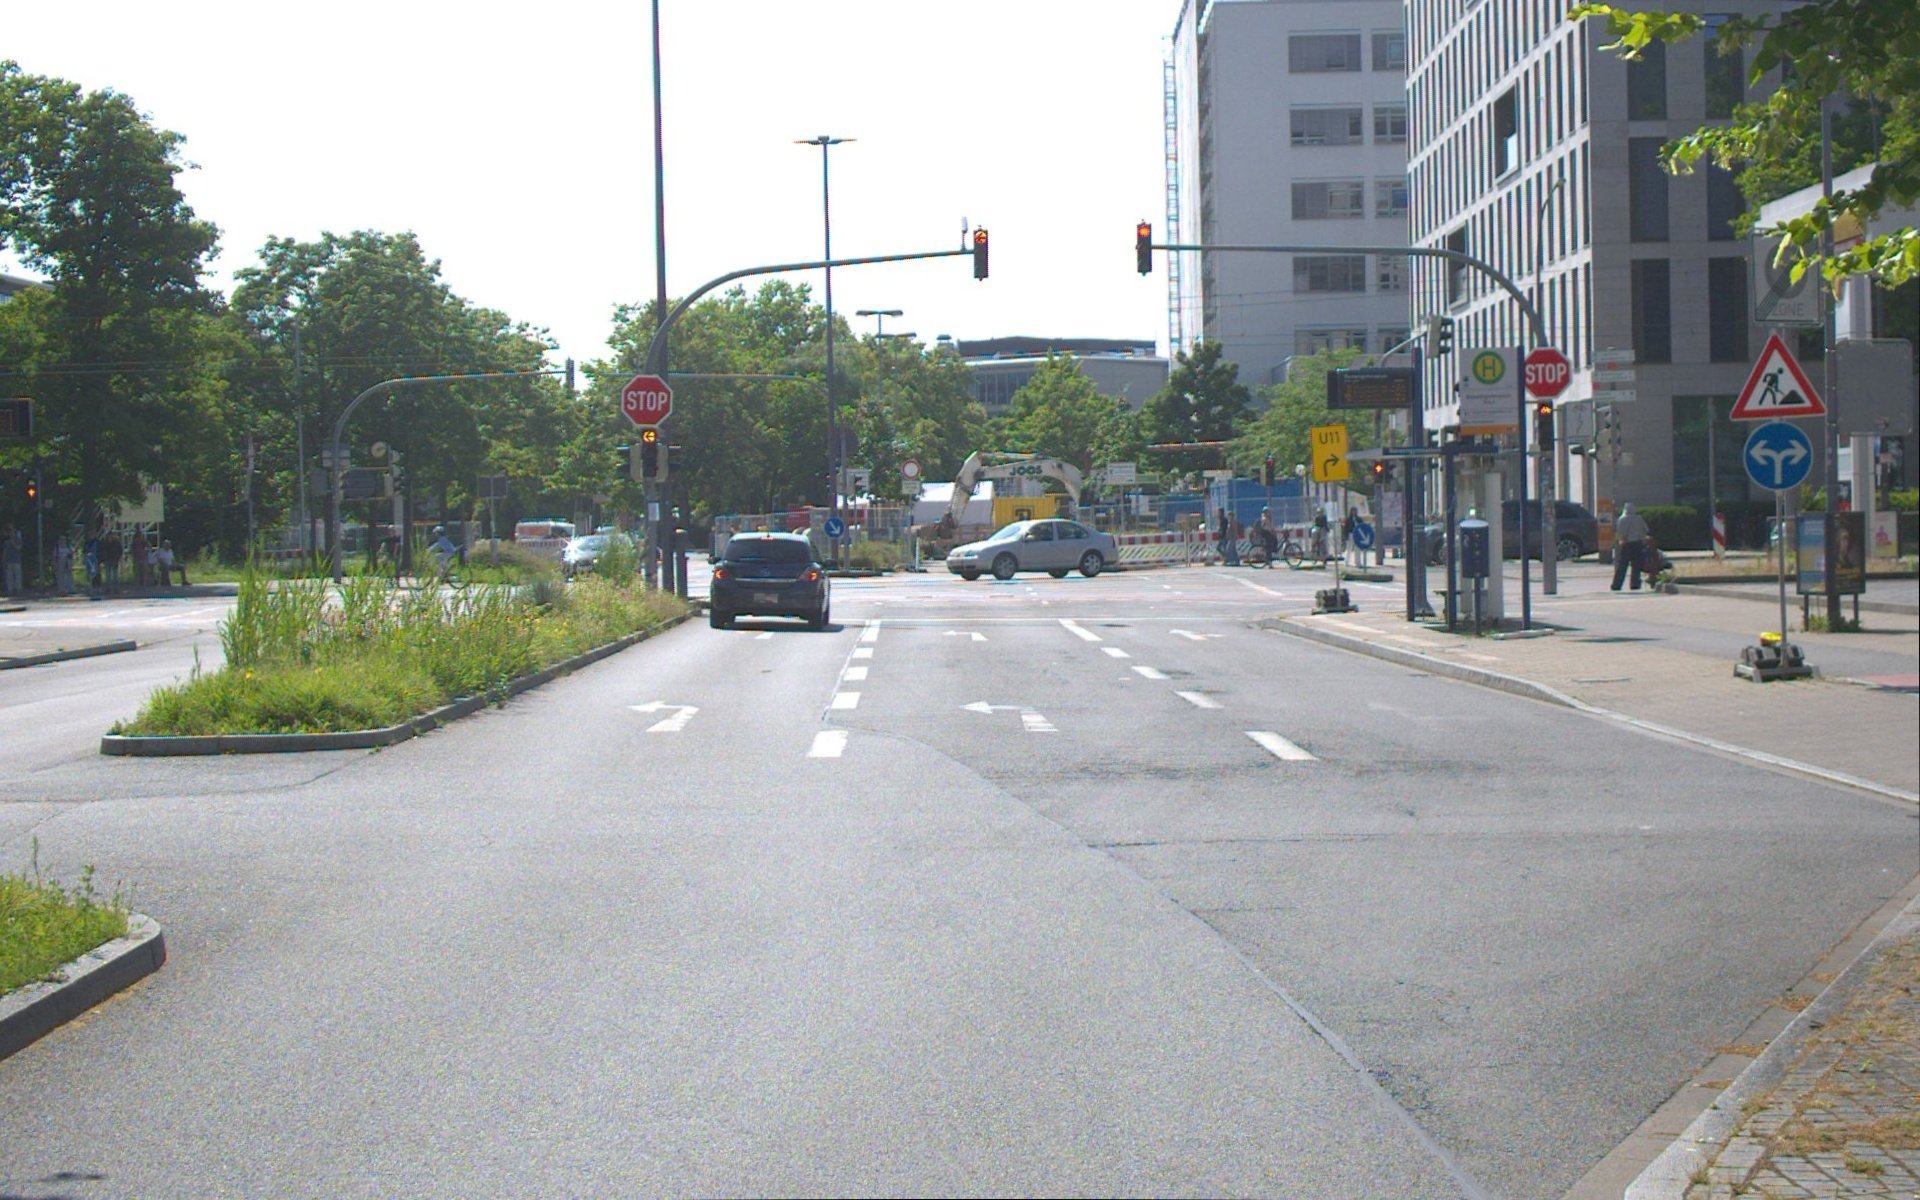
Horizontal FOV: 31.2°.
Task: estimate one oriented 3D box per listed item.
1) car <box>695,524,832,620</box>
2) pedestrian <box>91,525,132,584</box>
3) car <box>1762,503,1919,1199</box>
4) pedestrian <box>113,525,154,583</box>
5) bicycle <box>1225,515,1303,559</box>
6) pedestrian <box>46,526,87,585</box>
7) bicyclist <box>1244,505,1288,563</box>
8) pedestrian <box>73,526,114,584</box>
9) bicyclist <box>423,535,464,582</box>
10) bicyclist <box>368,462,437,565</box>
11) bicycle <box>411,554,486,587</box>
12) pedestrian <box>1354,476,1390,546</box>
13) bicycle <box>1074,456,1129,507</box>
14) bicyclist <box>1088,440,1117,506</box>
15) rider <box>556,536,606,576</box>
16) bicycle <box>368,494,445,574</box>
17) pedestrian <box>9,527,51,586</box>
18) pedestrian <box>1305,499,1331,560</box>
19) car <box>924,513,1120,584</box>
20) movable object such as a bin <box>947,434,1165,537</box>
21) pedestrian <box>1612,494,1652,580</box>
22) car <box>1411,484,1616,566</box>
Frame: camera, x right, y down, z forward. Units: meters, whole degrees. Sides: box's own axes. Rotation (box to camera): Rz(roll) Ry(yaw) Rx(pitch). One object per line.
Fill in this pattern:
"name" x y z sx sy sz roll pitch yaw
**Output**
"car" -3.033 -0.460 52.717 1.993 1.393 4.001 -1 1 -4
"pedestrian" -23.339 -1.244 94.588 0.655 1.606 0.941 0 1 23
"car" 3.674 0.556 6.632 4.105 1.525 1.999 -2 2 -38
"pedestrian" -23.102 -1.277 96.053 0.667 1.606 0.941 0 1 23
"bicycle" 8.843 -1.829 99.912 2.229 1.280 0.525 0 1 8
"pedestrian" -24.794 -1.238 95.398 0.655 1.606 0.941 0 1 23
"bicyclist" 8.895 -1.930 99.915 1.240 1.667 0.525 0 1 8
"pedestrian" -24.048 -1.249 95.387 0.655 1.606 0.941 0 1 23
"bicyclist" -14.181 -1.147 94.401 1.051 1.270 0.492 -1 1 -11
"bicyclist" -16.191 -2.510 99.943 1.599 2.921 2.353 -1 1 -1
"bicycle" -14.048 -0.817 94.422 1.999 0.880 0.527 -1 1 -11
"pedestrian" 11.824 -2.547 98.630 0.779 2.007 0.776 0 2 28
"bicycle" 5.529 -4.632 134.386 2.088 1.955 0.827 0 1 6
"bicyclist" 5.570 -4.948 134.369 1.070 2.565 0.827 0 1 6
"rider" -11.843 -1.386 107.604 1.391 1.191 2.698 -1 1 -3
"bicycle" -16.197 -1.940 100.766 1.599 2.261 4.000 -1 1 -1
"pedestrian" -25.706 -1.213 94.995 0.655 1.606 0.941 0 1 23
"pedestrian" 10.462 -2.072 100.500 0.528 1.765 0.720 -1 1 -14
"car" 1.523 -1.265 84.167 4.381 1.633 2.000 -2 1 -31
"movable object such as a bin" 4.325 -5.157 155.371 9.675 4.534 3.164 -1 1 1
"pedestrian" 12.134 -1.142 62.082 0.618 1.538 0.461 -1 1 -1
"car" 14.091 -1.924 87.703 4.853 2.007 2.000 -1 1 -3
